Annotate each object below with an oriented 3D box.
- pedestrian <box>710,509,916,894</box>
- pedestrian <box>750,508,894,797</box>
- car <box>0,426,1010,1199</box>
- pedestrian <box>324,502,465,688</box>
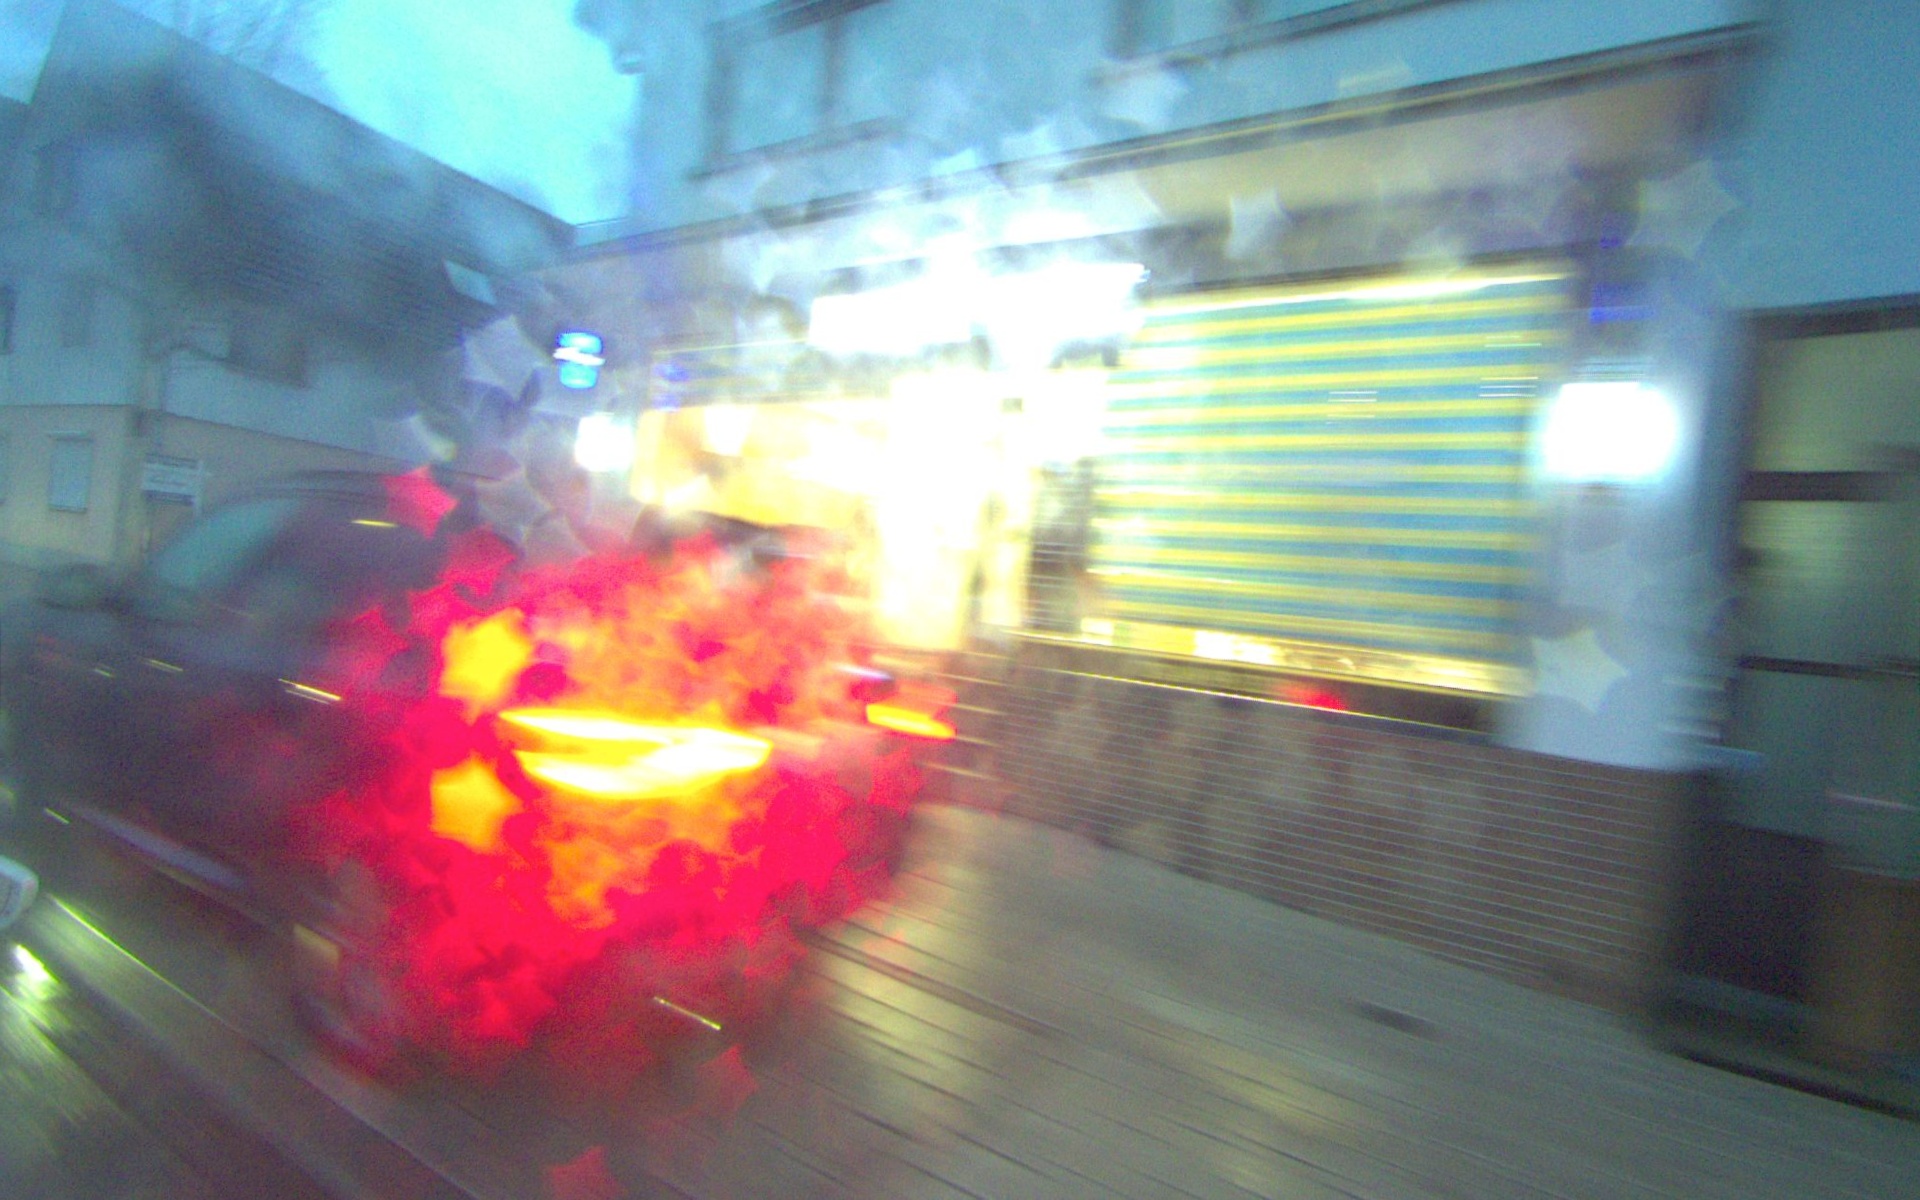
[{"bbox_3d":[-0.719,0.459,4.945,0.642,1.721,0.573,6,2,32],"label":"pedestrian"},{"bbox_3d":[-0.890,0.338,6.455,0.498,1.746,0.613,7,-3,-40],"label":"pedestrian"},{"bbox_3d":[-2.187,0.362,4.020,4.312,1.713,1.738,6,0,30],"label":"car"},{"bbox_3d":[-5.075,-0.037,9.052,0.720,1.534,0.620,8,0,18],"label":"pedestrian"}]
